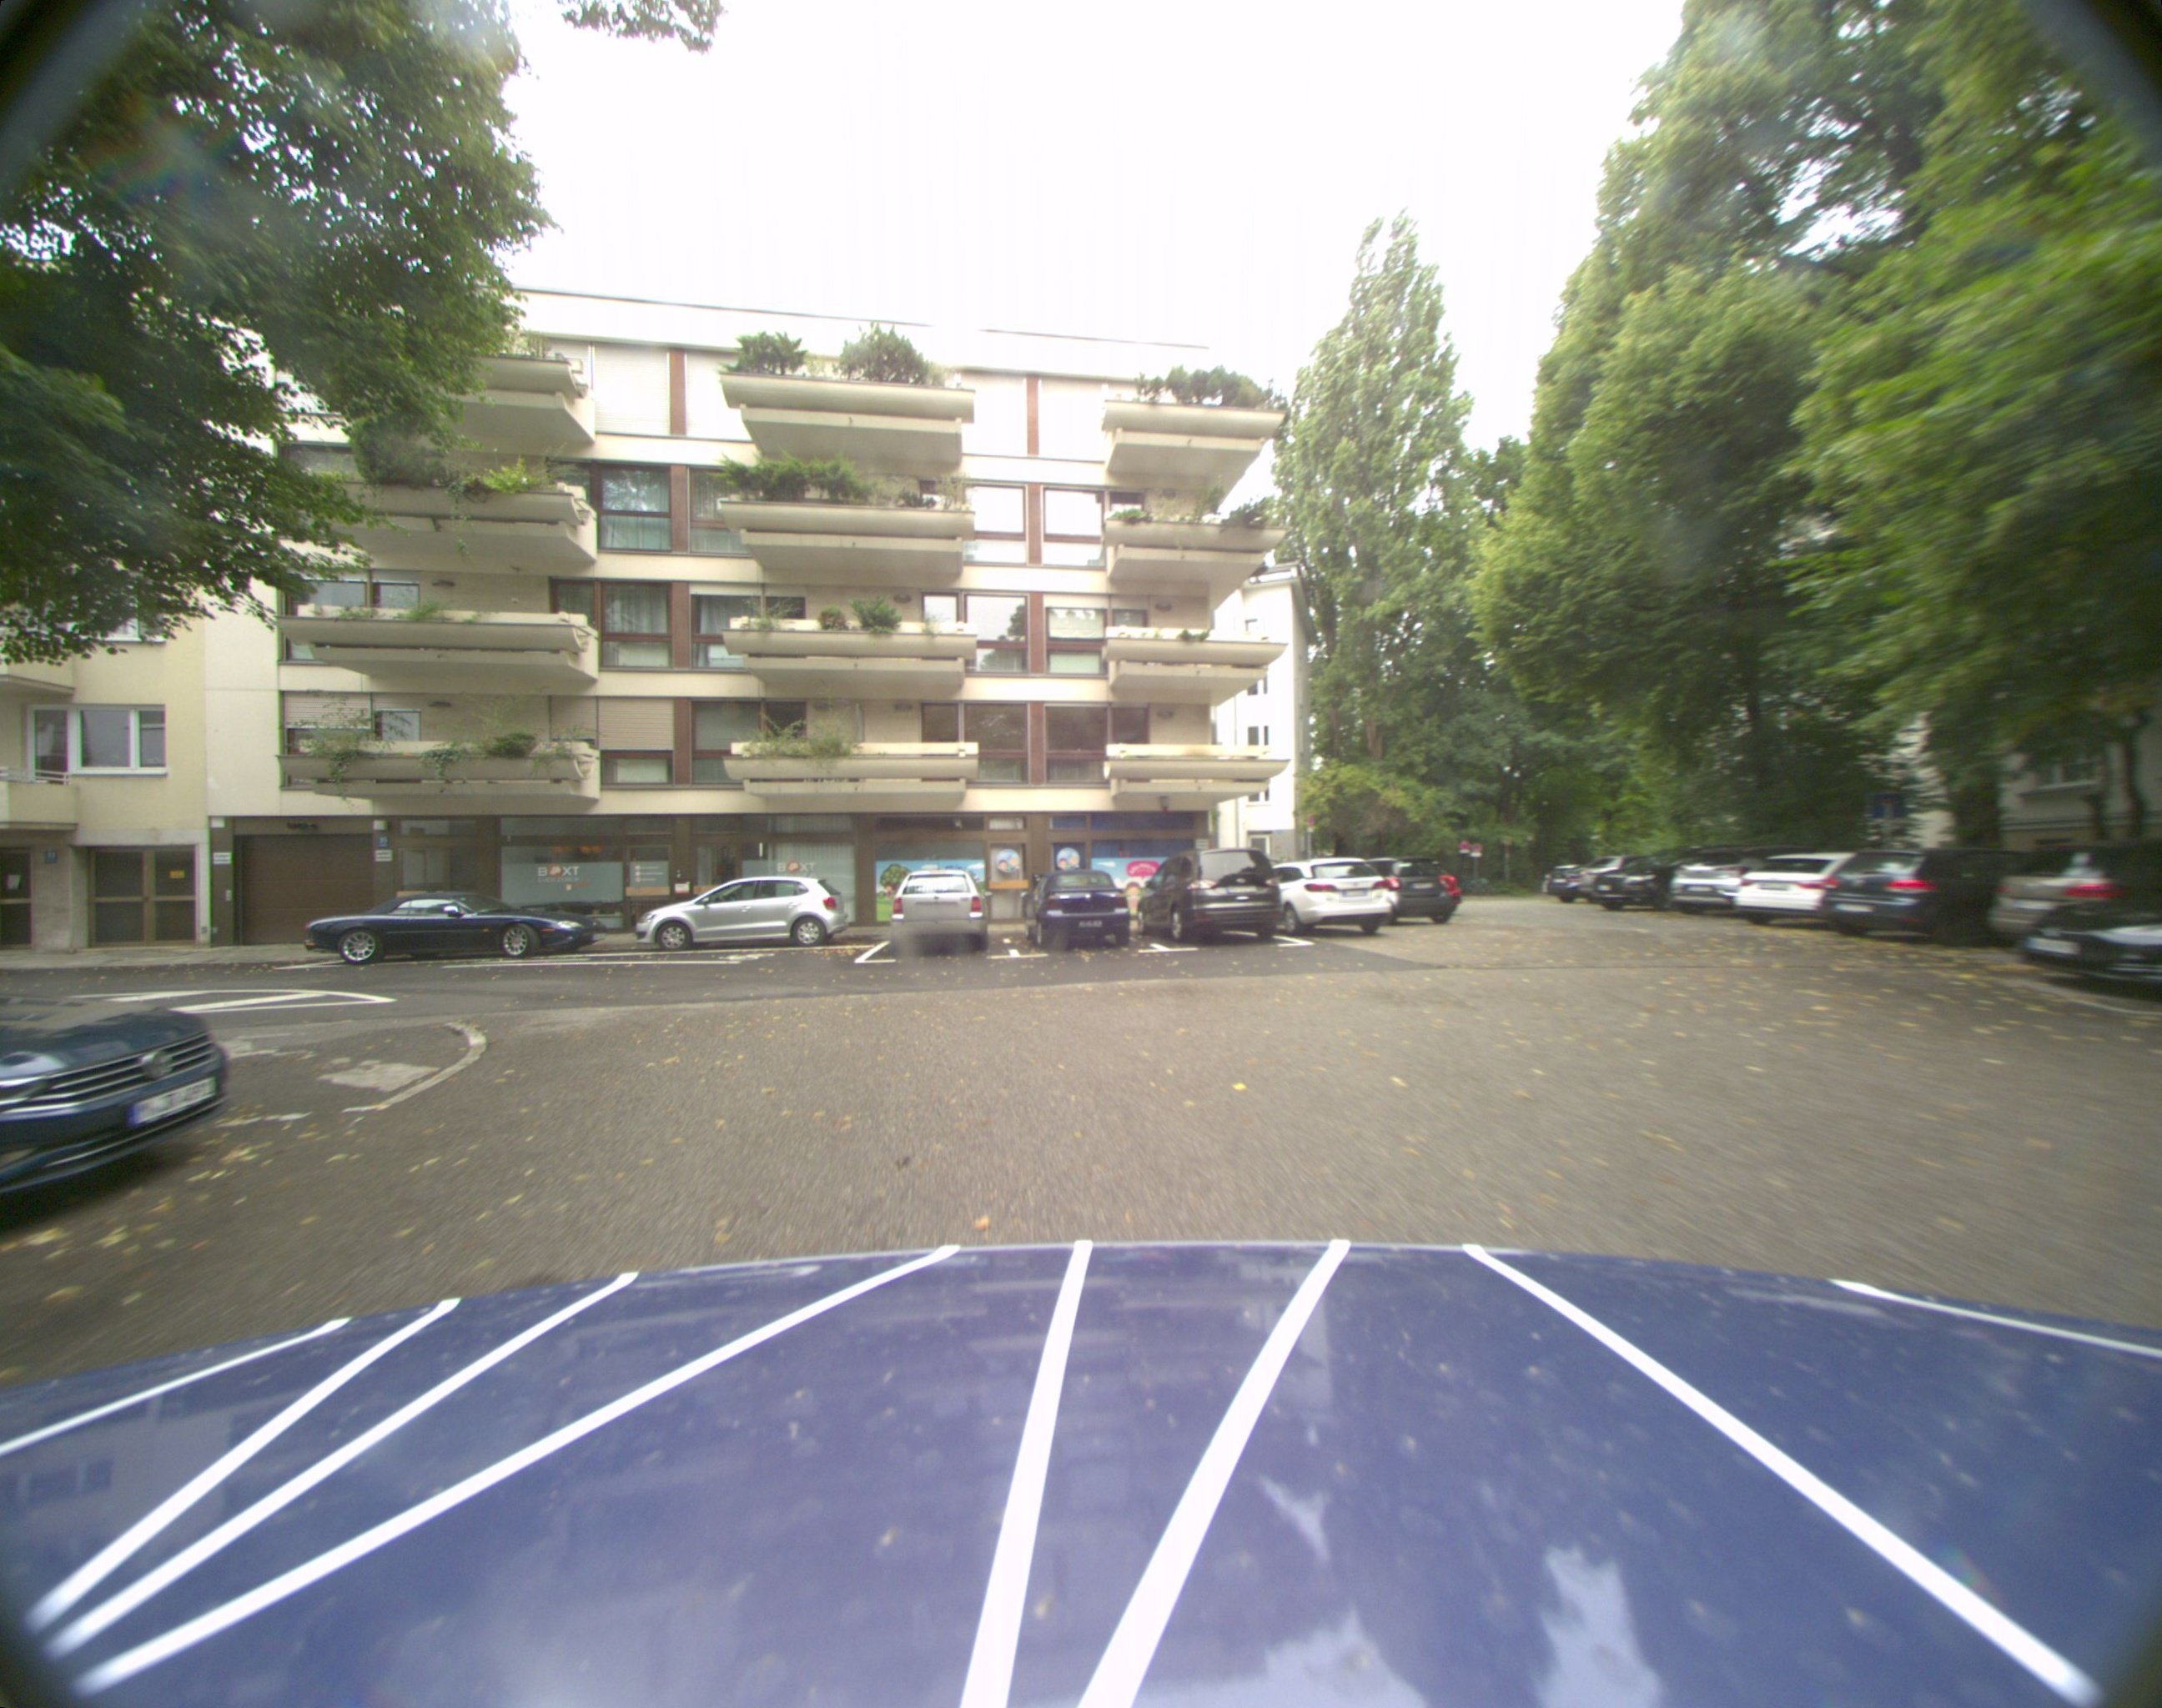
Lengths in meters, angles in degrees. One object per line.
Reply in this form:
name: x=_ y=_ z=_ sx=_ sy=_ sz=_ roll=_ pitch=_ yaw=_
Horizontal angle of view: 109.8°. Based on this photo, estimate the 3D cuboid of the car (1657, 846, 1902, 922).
car: x=15.510 y=0.624 z=16.993 sx=3.999 sy=1.501 sz=1.874 roll=-1 pitch=1 yaw=-6

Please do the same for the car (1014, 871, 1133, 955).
car: x=-0.291 y=1.088 z=14.954 sx=1.718 sy=1.359 sz=4.070 roll=-2 pitch=-2 yaw=-9

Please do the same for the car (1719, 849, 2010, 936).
car: x=14.626 y=0.664 z=14.294 sx=3.999 sy=1.423 sz=1.723 roll=-1 pitch=1 yaw=-6

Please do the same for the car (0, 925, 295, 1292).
car: x=-6.988 y=1.176 z=3.178 sx=4.737 sy=1.369 sz=1.957 roll=-1 pitch=0 yaw=-18

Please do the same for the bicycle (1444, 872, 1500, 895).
bicycle: x=19.792 y=1.479 z=38.511 sx=2.464 sy=1.112 sz=0.826 roll=-1 pitch=1 yaw=23

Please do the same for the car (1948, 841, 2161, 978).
car: x=13.696 y=0.606 z=9.114 sx=4.017 sy=1.521 sz=1.846 roll=-1 pitch=1 yaw=14

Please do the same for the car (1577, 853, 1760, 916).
car: x=15.187 y=0.718 z=19.663 sx=4.004 sy=1.393 sz=2.059 roll=-2 pitch=1 yaw=-23

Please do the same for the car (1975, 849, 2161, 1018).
car: x=11.625 y=0.732 z=6.846 sx=4.278 sy=1.459 sz=1.712 roll=1 pitch=2 yaw=21

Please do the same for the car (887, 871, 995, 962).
car: x=-2.649 y=1.136 z=14.705 sx=1.721 sy=1.445 sz=4.240 roll=-2 pitch=-3 yaw=-9

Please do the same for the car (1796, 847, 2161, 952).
car: x=13.999 y=0.650 z=11.883 sx=3.998 sy=1.423 sz=1.797 roll=-1 pitch=1 yaw=-2

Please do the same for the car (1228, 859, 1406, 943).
car: x=4.650 y=0.948 z=15.680 sx=1.836 sy=1.470 sz=3.998 roll=-1 pitch=-3 yaw=-10

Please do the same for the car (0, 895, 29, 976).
car: x=-21.926 y=1.558 z=13.478 sx=3.709 sy=1.487 sz=1.623 roll=-1 pitch=0 yaw=-10

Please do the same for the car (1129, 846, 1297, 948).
car: x=2.404 y=0.822 z=15.057 sx=1.903 sy=1.673 sz=4.231 roll=-2 pitch=-2 yaw=-10

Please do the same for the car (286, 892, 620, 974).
car: x=-11.733 y=1.439 z=14.525 sx=4.617 sy=1.270 sz=1.802 roll=-1 pitch=-2 yaw=-9

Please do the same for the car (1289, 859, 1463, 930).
car: x=6.869 y=0.966 z=18.196 sx=1.836 sy=1.470 sz=3.997 roll=-1 pitch=-3 yaw=-15

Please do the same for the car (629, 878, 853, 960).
car: x=-6.698 y=1.261 z=15.334 sx=3.833 sy=1.412 sz=1.565 roll=-1 pitch=-2 yaw=-10

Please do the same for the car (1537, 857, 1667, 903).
car: x=18.593 y=0.886 z=27.122 sx=4.003 sy=1.469 sz=1.721 roll=-1 pitch=1 yaw=-18

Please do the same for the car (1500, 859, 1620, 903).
car: x=18.453 y=1.003 z=29.283 sx=4.003 sy=1.469 sz=1.721 roll=-1 pitch=1 yaw=-18

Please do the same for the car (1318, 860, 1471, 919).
car: x=8.506 y=0.896 z=21.036 sx=1.758 sy=1.390 sz=3.994 roll=-1 pitch=0 yaw=-17

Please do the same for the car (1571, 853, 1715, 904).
car: x=18.182 y=0.744 z=24.597 sx=4.003 sy=1.469 sz=1.721 roll=-1 pitch=1 yaw=-18
